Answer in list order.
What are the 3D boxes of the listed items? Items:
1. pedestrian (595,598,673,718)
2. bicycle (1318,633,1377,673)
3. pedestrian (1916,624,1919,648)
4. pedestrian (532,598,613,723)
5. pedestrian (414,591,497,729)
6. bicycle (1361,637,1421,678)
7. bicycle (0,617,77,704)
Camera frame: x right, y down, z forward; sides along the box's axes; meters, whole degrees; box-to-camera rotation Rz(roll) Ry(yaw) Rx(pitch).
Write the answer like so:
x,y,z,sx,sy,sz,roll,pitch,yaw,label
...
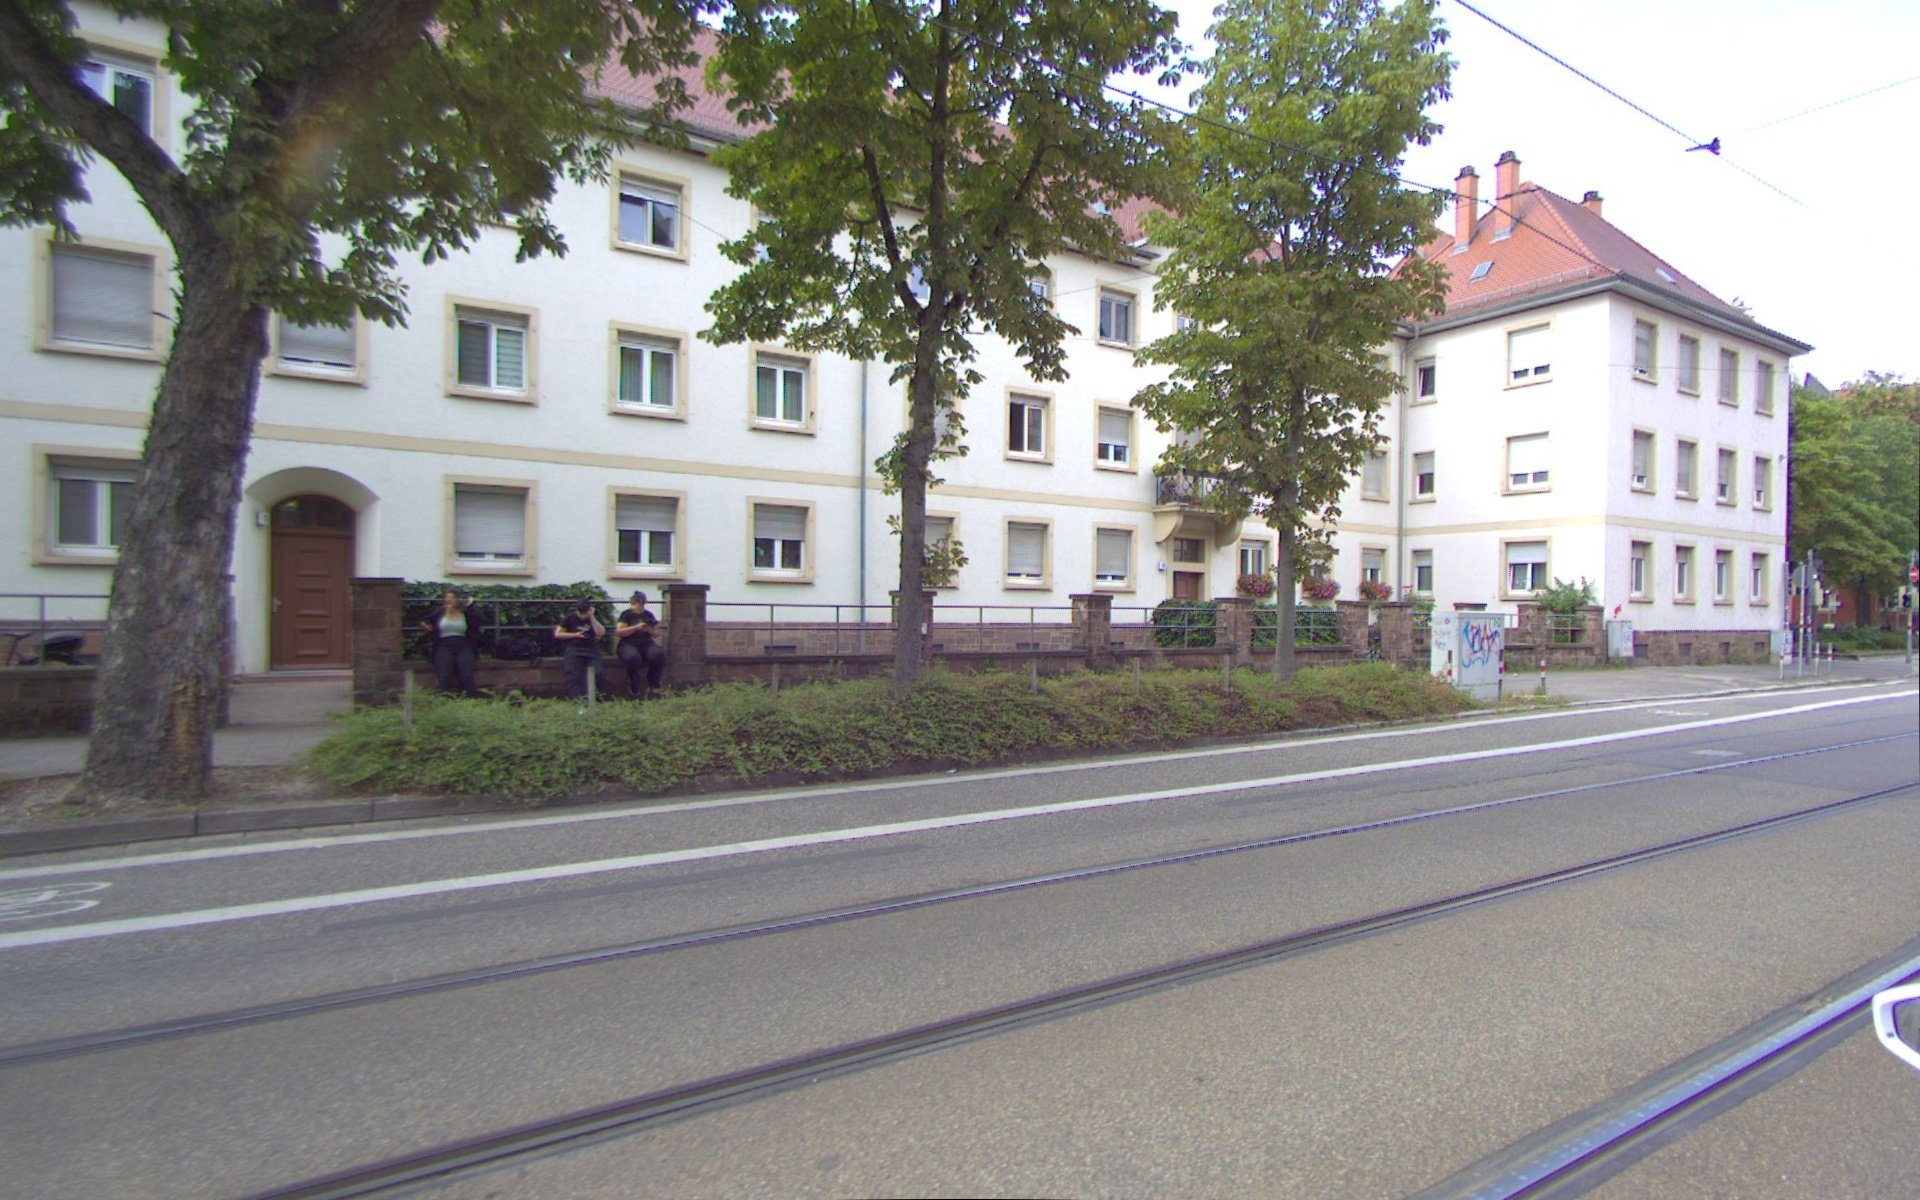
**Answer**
x,y,z,sx,sy,sz,roll,pitch,yaw,label
-4.191,0.720,12.911,0.726,1.484,0.826,1,-1,-37,pedestrian
9.486,1.284,24.569,1.653,0.927,0.475,1,-1,-32,bicycle
69.476,2.602,72.297,0.726,1.725,0.826,1,0,-37,pedestrian
-4.797,0.723,12.417,0.726,1.484,0.826,1,-1,-37,pedestrian
-5.894,0.670,11.717,0.726,1.532,0.826,1,-1,-37,pedestrian
10.278,1.361,23.929,1.653,0.927,0.475,1,-1,-32,bicycle
-10.061,0.614,10.220,1.533,0.874,0.506,1,-1,-32,bicycle
